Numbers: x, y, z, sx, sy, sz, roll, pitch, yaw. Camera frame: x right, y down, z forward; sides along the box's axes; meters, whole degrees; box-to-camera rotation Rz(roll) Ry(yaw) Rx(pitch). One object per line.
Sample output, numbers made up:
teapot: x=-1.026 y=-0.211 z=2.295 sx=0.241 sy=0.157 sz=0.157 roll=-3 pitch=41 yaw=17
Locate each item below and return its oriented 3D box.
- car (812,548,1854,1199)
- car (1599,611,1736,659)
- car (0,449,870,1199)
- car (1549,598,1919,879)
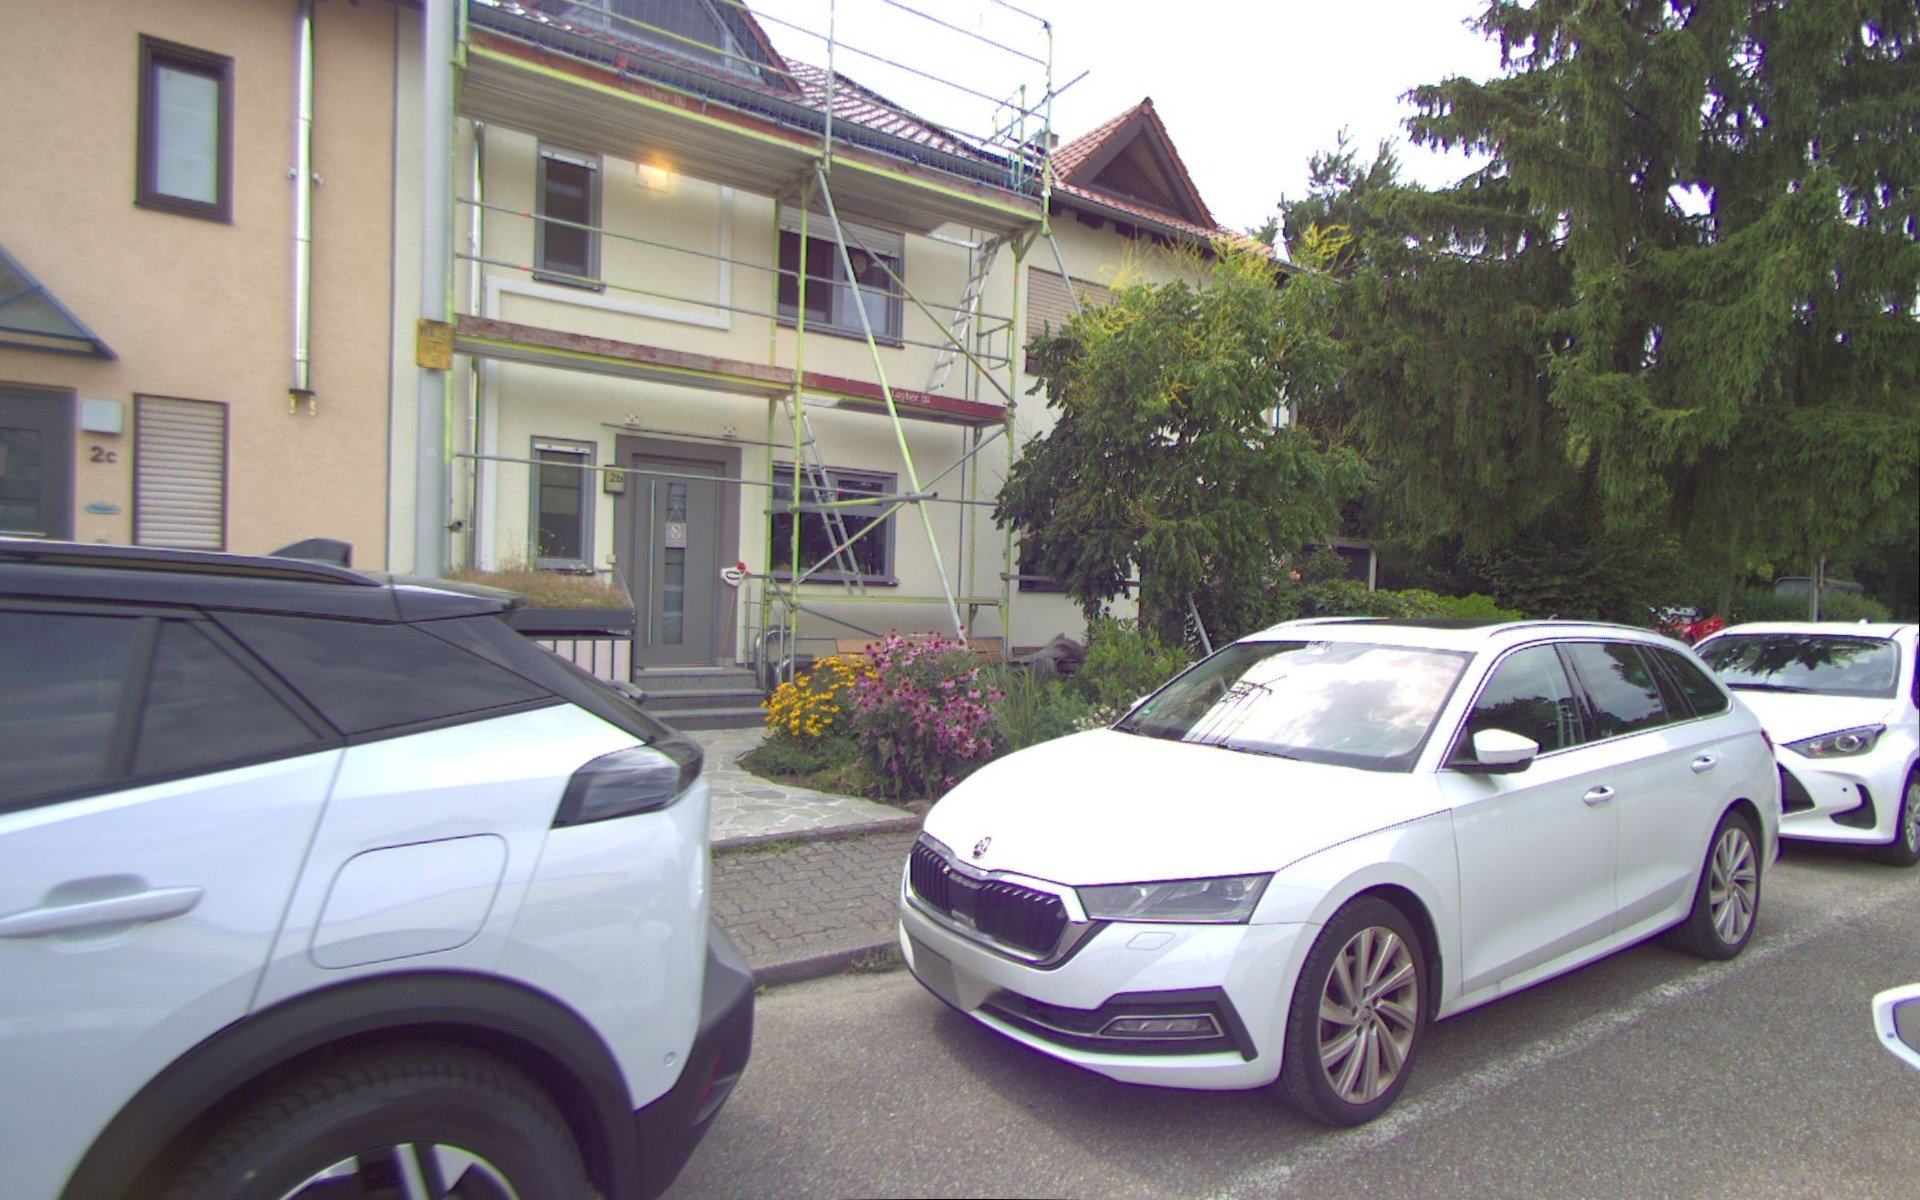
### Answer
car: x=1.930 y=0.701 z=4.401 sx=4.796 sy=1.583 sz=1.799 roll=1 pitch=0 yaw=-34
car: x=22.009 y=1.062 z=31.190 sx=4.645 sy=1.308 sz=1.981 roll=1 pitch=1 yaw=-34
car: x=-2.626 y=0.561 z=1.617 sx=4.584 sy=1.577 sz=1.923 roll=1 pitch=0 yaw=-33
car: x=6.375 y=0.805 z=7.474 sx=4.095 sy=1.551 sz=1.781 roll=1 pitch=0 yaw=-33
